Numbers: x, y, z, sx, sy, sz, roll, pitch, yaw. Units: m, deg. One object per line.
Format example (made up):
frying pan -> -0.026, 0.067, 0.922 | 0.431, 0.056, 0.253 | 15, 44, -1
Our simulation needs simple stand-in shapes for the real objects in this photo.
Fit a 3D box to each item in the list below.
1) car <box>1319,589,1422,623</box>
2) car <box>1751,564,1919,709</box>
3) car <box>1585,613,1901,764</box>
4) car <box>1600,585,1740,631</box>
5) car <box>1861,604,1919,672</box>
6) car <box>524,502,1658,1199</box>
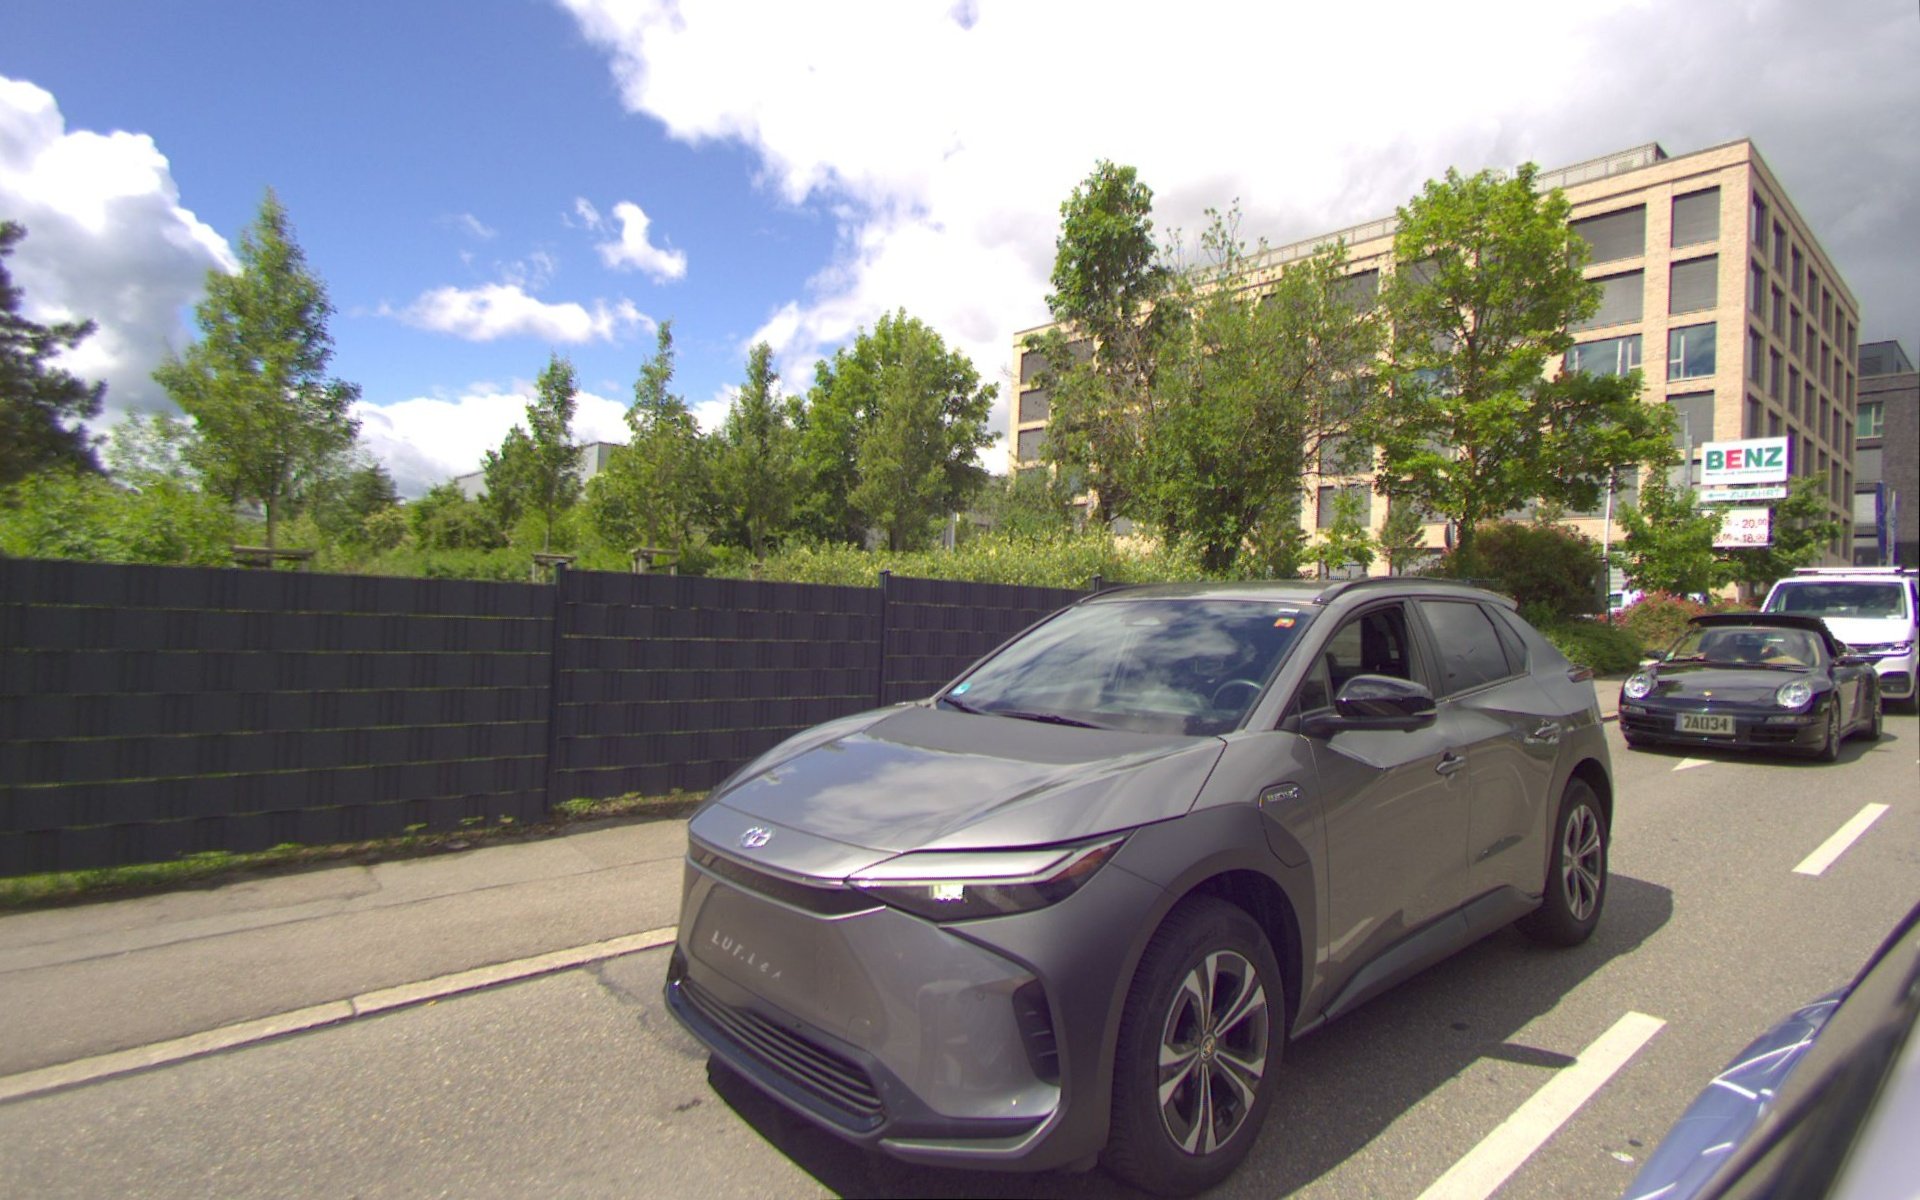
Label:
car -> 19.353, 0.247, 47.830 | 1.705, 1.436, 4.215 | 1, 1, -41
car -> 13.605, 0.484, 15.139 | 4.563, 1.874, 1.962 | 0, -1, -41
car -> 8.546, 0.792, 10.895 | 4.487, 1.290, 1.776 | 0, -1, -40
car -> 27.485, 0.273, 39.274 | 1.707, 1.596, 4.211 | 1, 1, -44
car -> 20.707, 0.760, 21.326 | 4.485, 1.290, 1.778 | 0, 1, -38
car -> 0.957, 0.660, 4.037 | 4.601, 1.634, 1.922 | 0, -1, -41
